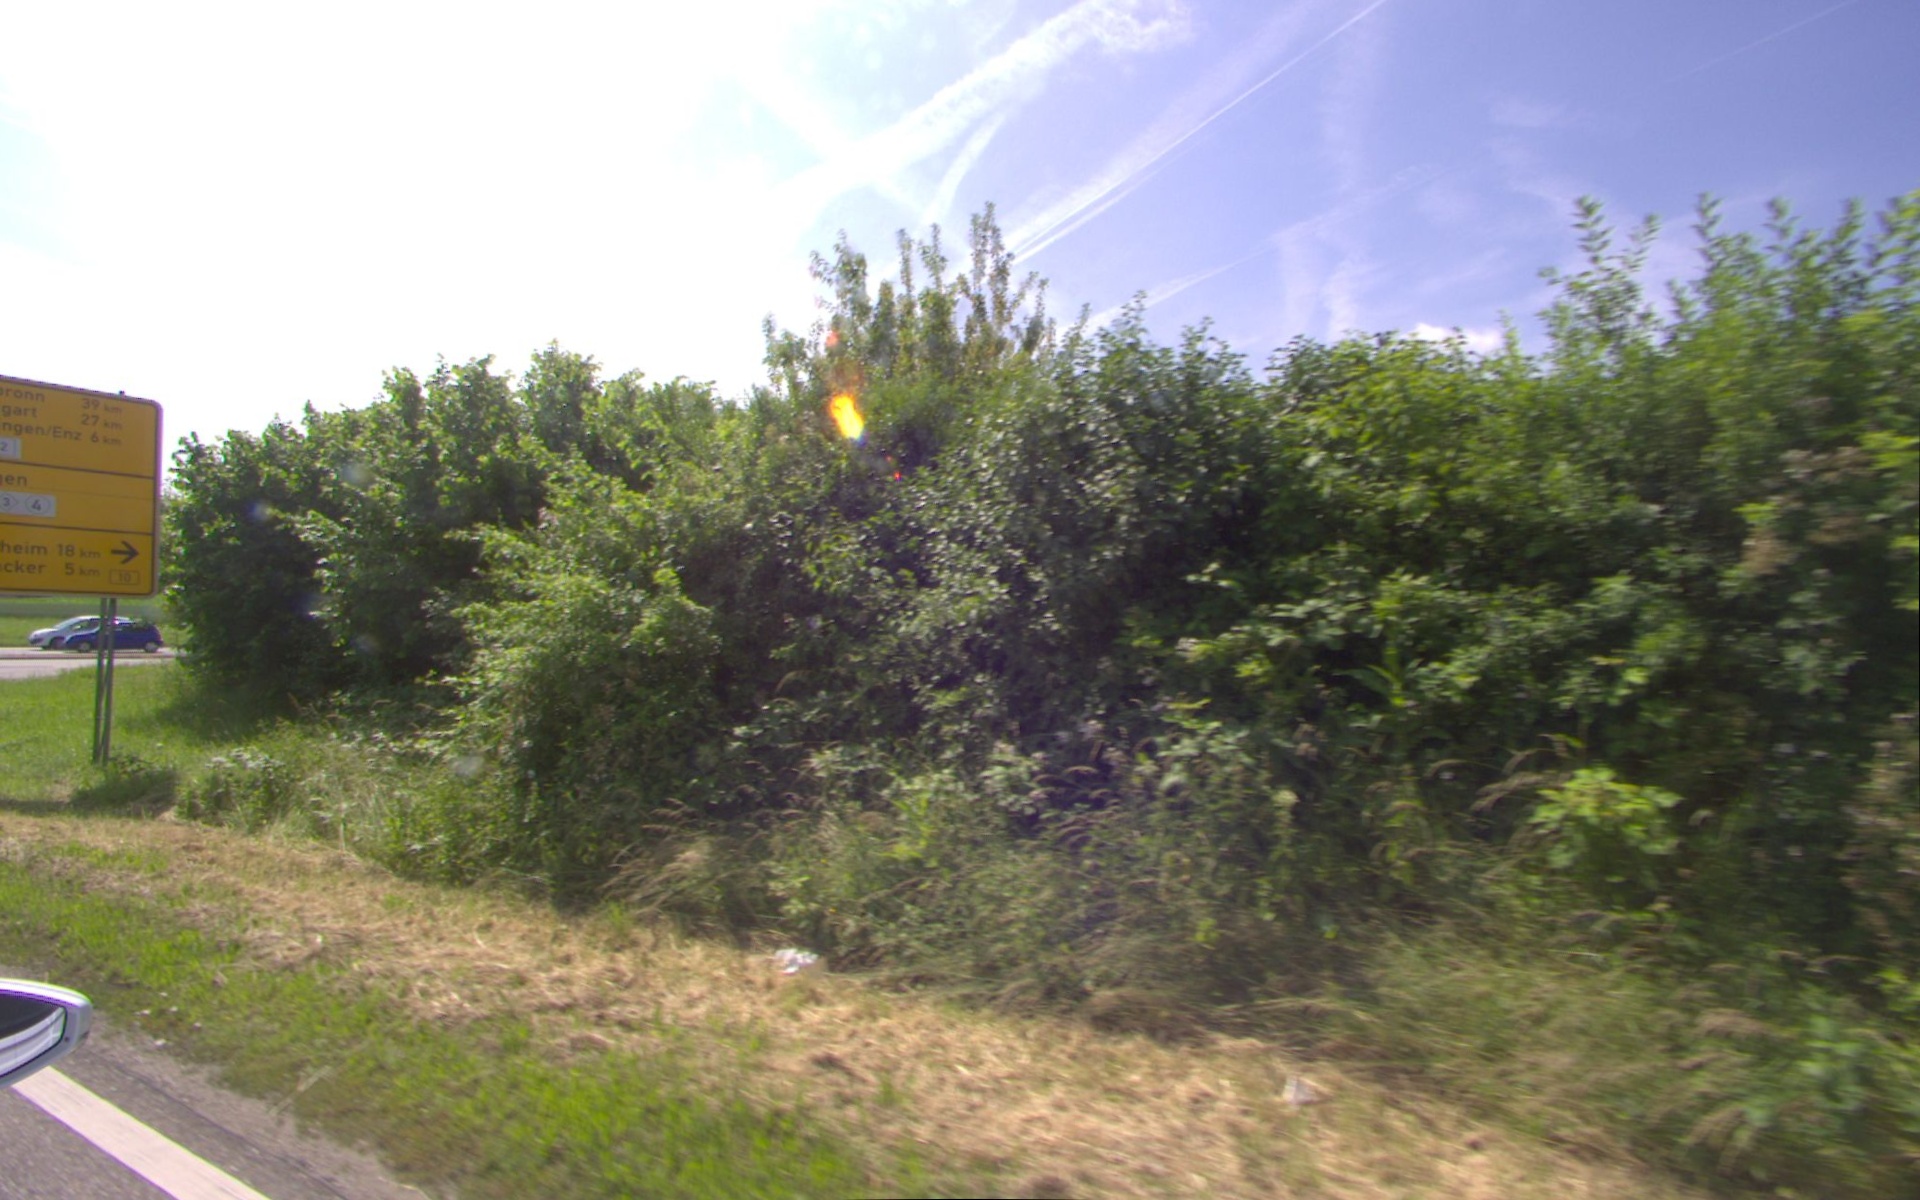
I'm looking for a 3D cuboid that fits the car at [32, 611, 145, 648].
[{"bbox_3d":[-41.391,1.396,47.626,1.740,1.654,3.812,-1,-2,39],"label":"car"}]

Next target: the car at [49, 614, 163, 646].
[{"bbox_3d":[-38.870,1.366,45.649,1.659,1.374,3.826,-1,-3,45],"label":"car"}]
